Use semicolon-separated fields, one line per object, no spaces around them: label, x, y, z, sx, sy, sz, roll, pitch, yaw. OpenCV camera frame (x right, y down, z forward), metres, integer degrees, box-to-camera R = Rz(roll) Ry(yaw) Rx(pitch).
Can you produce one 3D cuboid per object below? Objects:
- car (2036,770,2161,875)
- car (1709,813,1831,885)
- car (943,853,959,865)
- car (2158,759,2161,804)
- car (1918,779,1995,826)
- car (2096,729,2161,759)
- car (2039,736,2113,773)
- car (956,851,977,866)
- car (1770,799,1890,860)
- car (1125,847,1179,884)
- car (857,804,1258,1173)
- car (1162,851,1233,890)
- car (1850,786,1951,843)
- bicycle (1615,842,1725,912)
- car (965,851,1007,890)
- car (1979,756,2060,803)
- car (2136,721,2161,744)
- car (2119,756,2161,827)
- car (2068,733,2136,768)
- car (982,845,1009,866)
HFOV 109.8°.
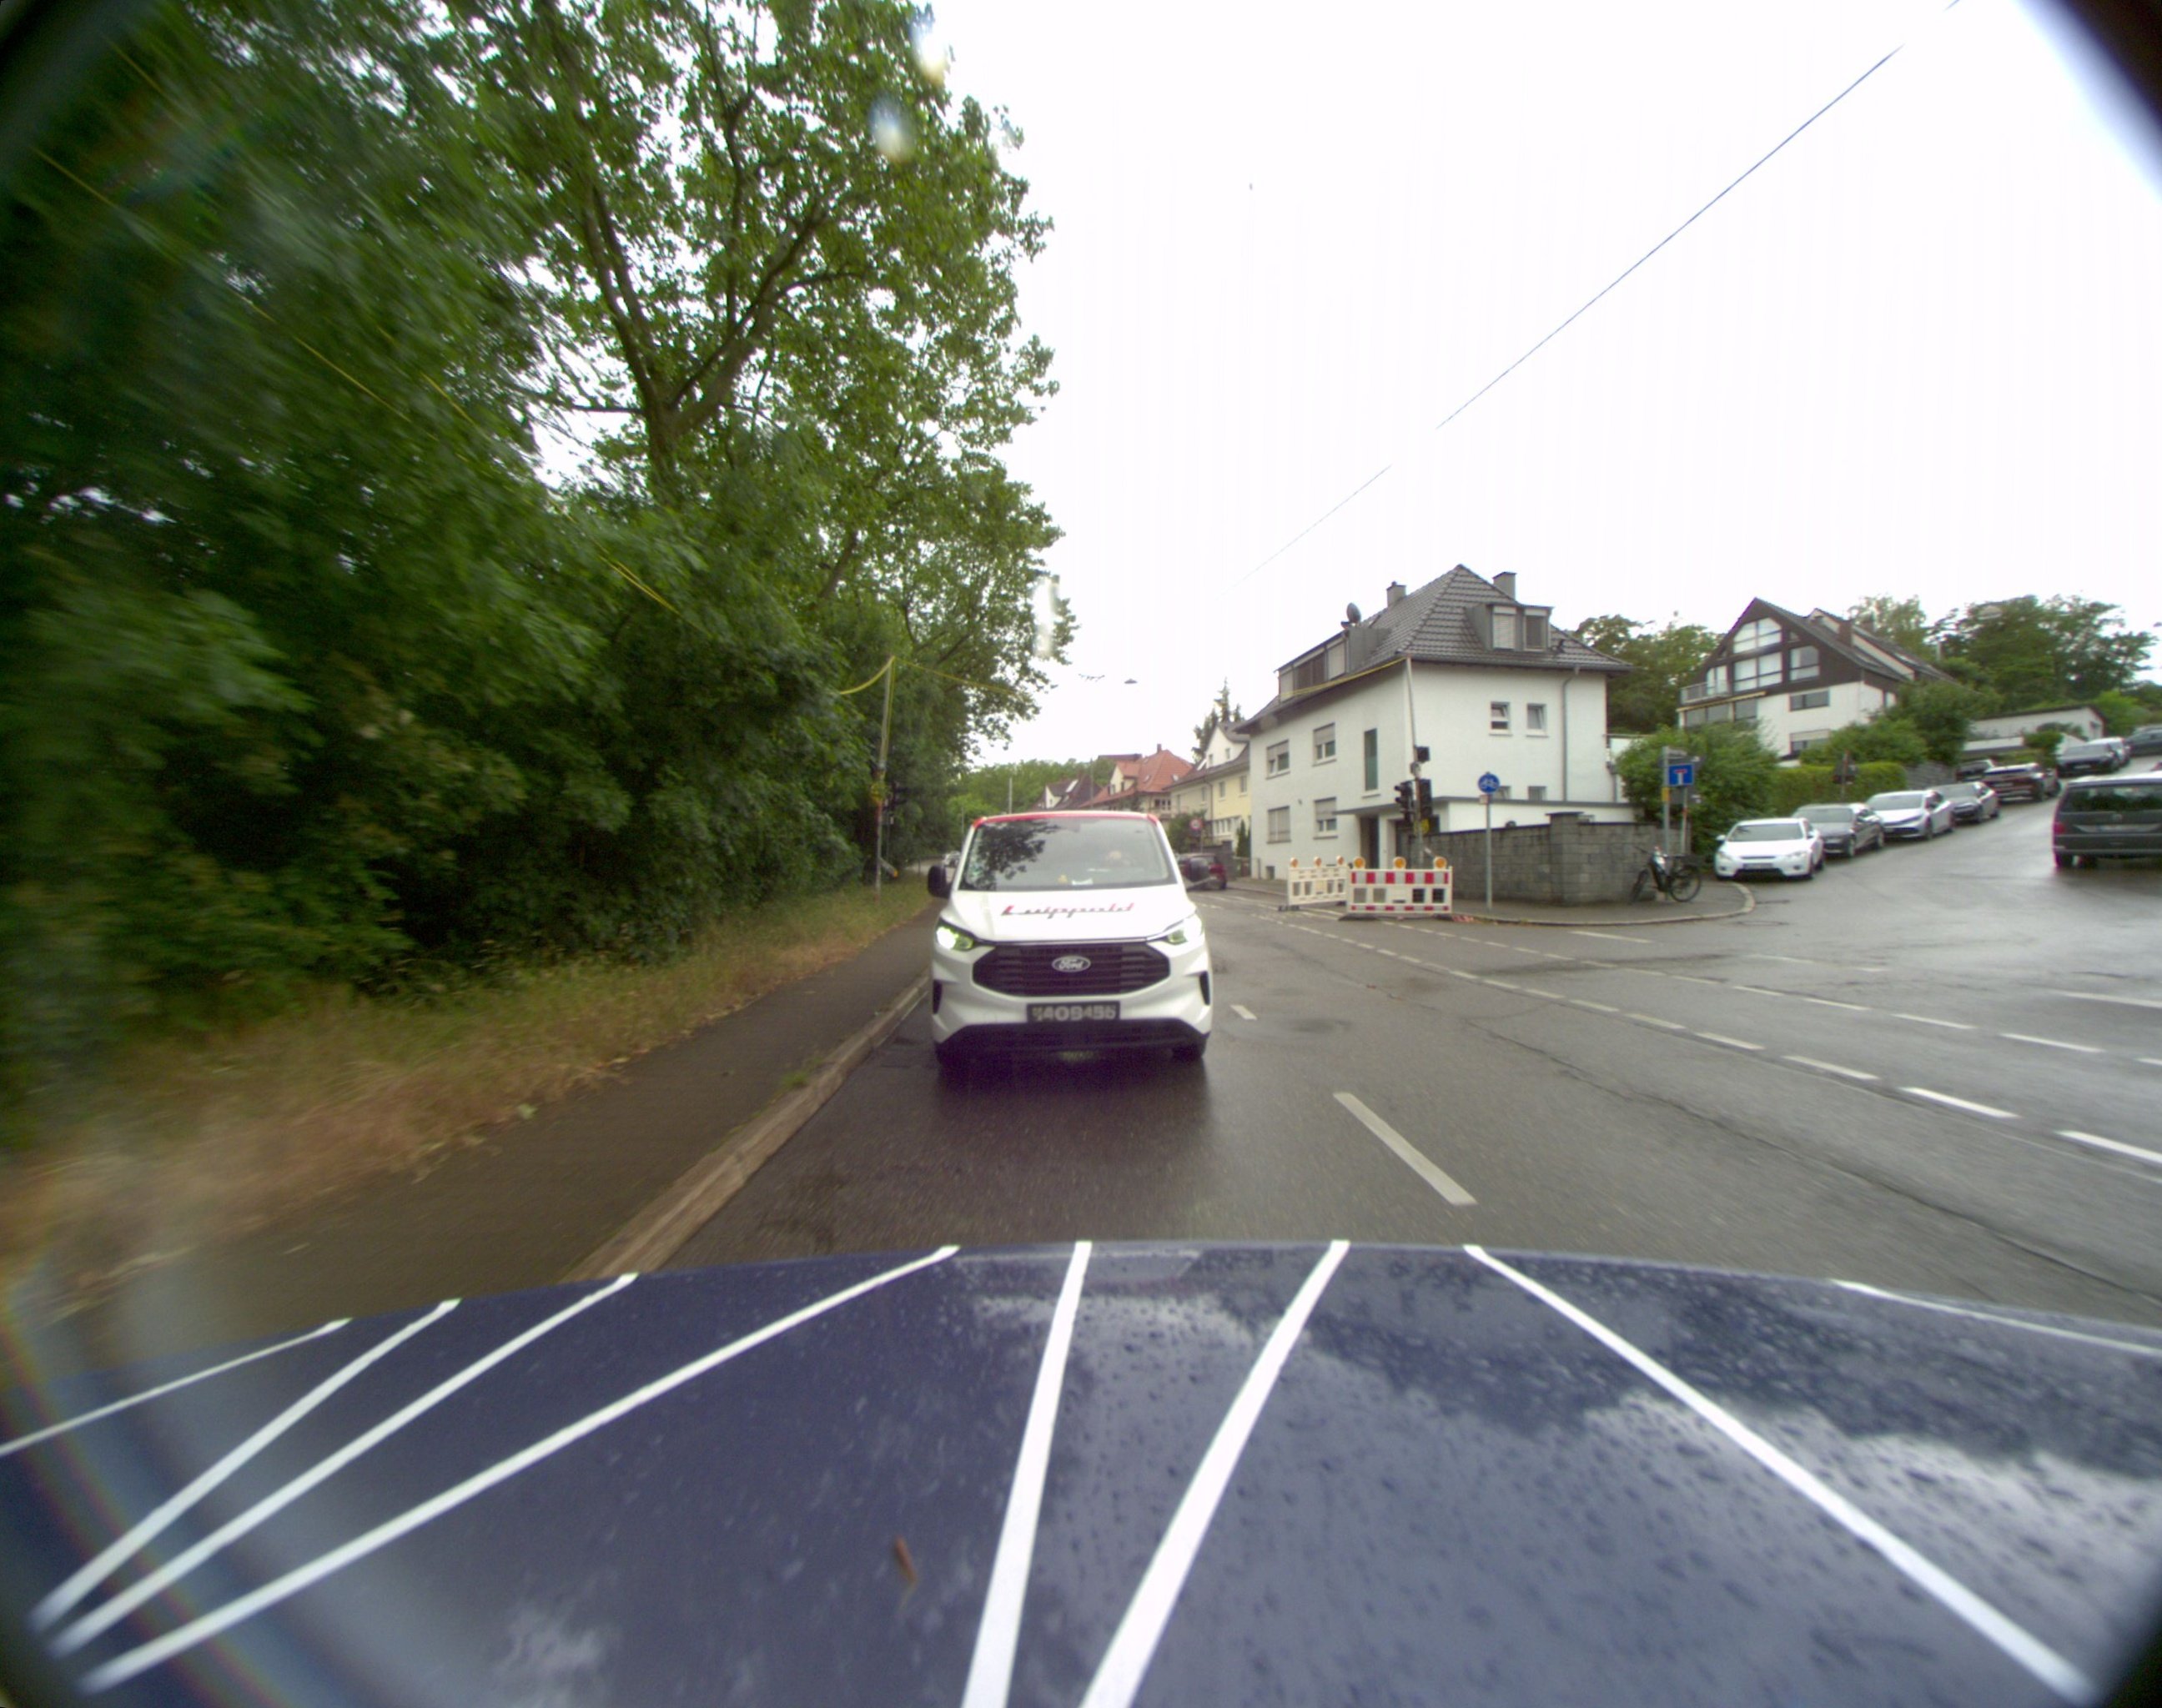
car;23.784;-0.761;17.363;3.800;1.926;1.911;-9;4;-31
car;17.768;-0.141;19.552;3.566;1.458;1.746;-7;2;-39
car;-17.925;0.685;104.617;1.767;1.519;3.585;-3;1;-16
car;37.884;-2.633;25.556;3.564;1.461;1.580;-9;4;-30
car;32.493;-1.926;28.178;3.507;1.383;1.333;-8;4;-32
car;68.587;-7.194;49.005;1.582;1.492;3.607;-10;4;-33
car;54.844;-5.464;41.875;3.834;1.492;1.733;-9;4;-26
car;-14.408;0.552;95.587;2.001;1.850;4.354;-3;1;-16
car;22.694;-0.745;23.001;3.859;1.458;1.700;-7;2;-32
car;3.336;0.580;36.343;1.670;1.579;4.004;-3;-1;-7
car;-0.065;0.679;6.611;2.045;1.883;5.208;-2;1;1
car;4.718;0.685;31.347;1.898;1.485;3.795;-1;-2;-7
car;27.348;-1.332;25.338;3.859;1.458;1.579;-8;4;-32
bicycle;11.880;0.440;15.350;1.732;1.304;0.707;-2;1;-6
car;-4.270;0.747;34.160;1.670;1.579;4.004;-3;-1;-7
car;40.897;-3.256;33.091;3.988;1.547;1.333;-9;4;-26
car;81.770;-9.210;56.543;1.624;1.492;3.514;-9;3;-24
car;33.286;-1.981;22.974;3.416;1.827;1.917;-9;4;-31
car;60.542;-6.139;45.051;3.834;1.492;1.733;-9;4;-26
car;-8.733;0.161;77.224;2.001;2.002;3.994;-3;1;-16
